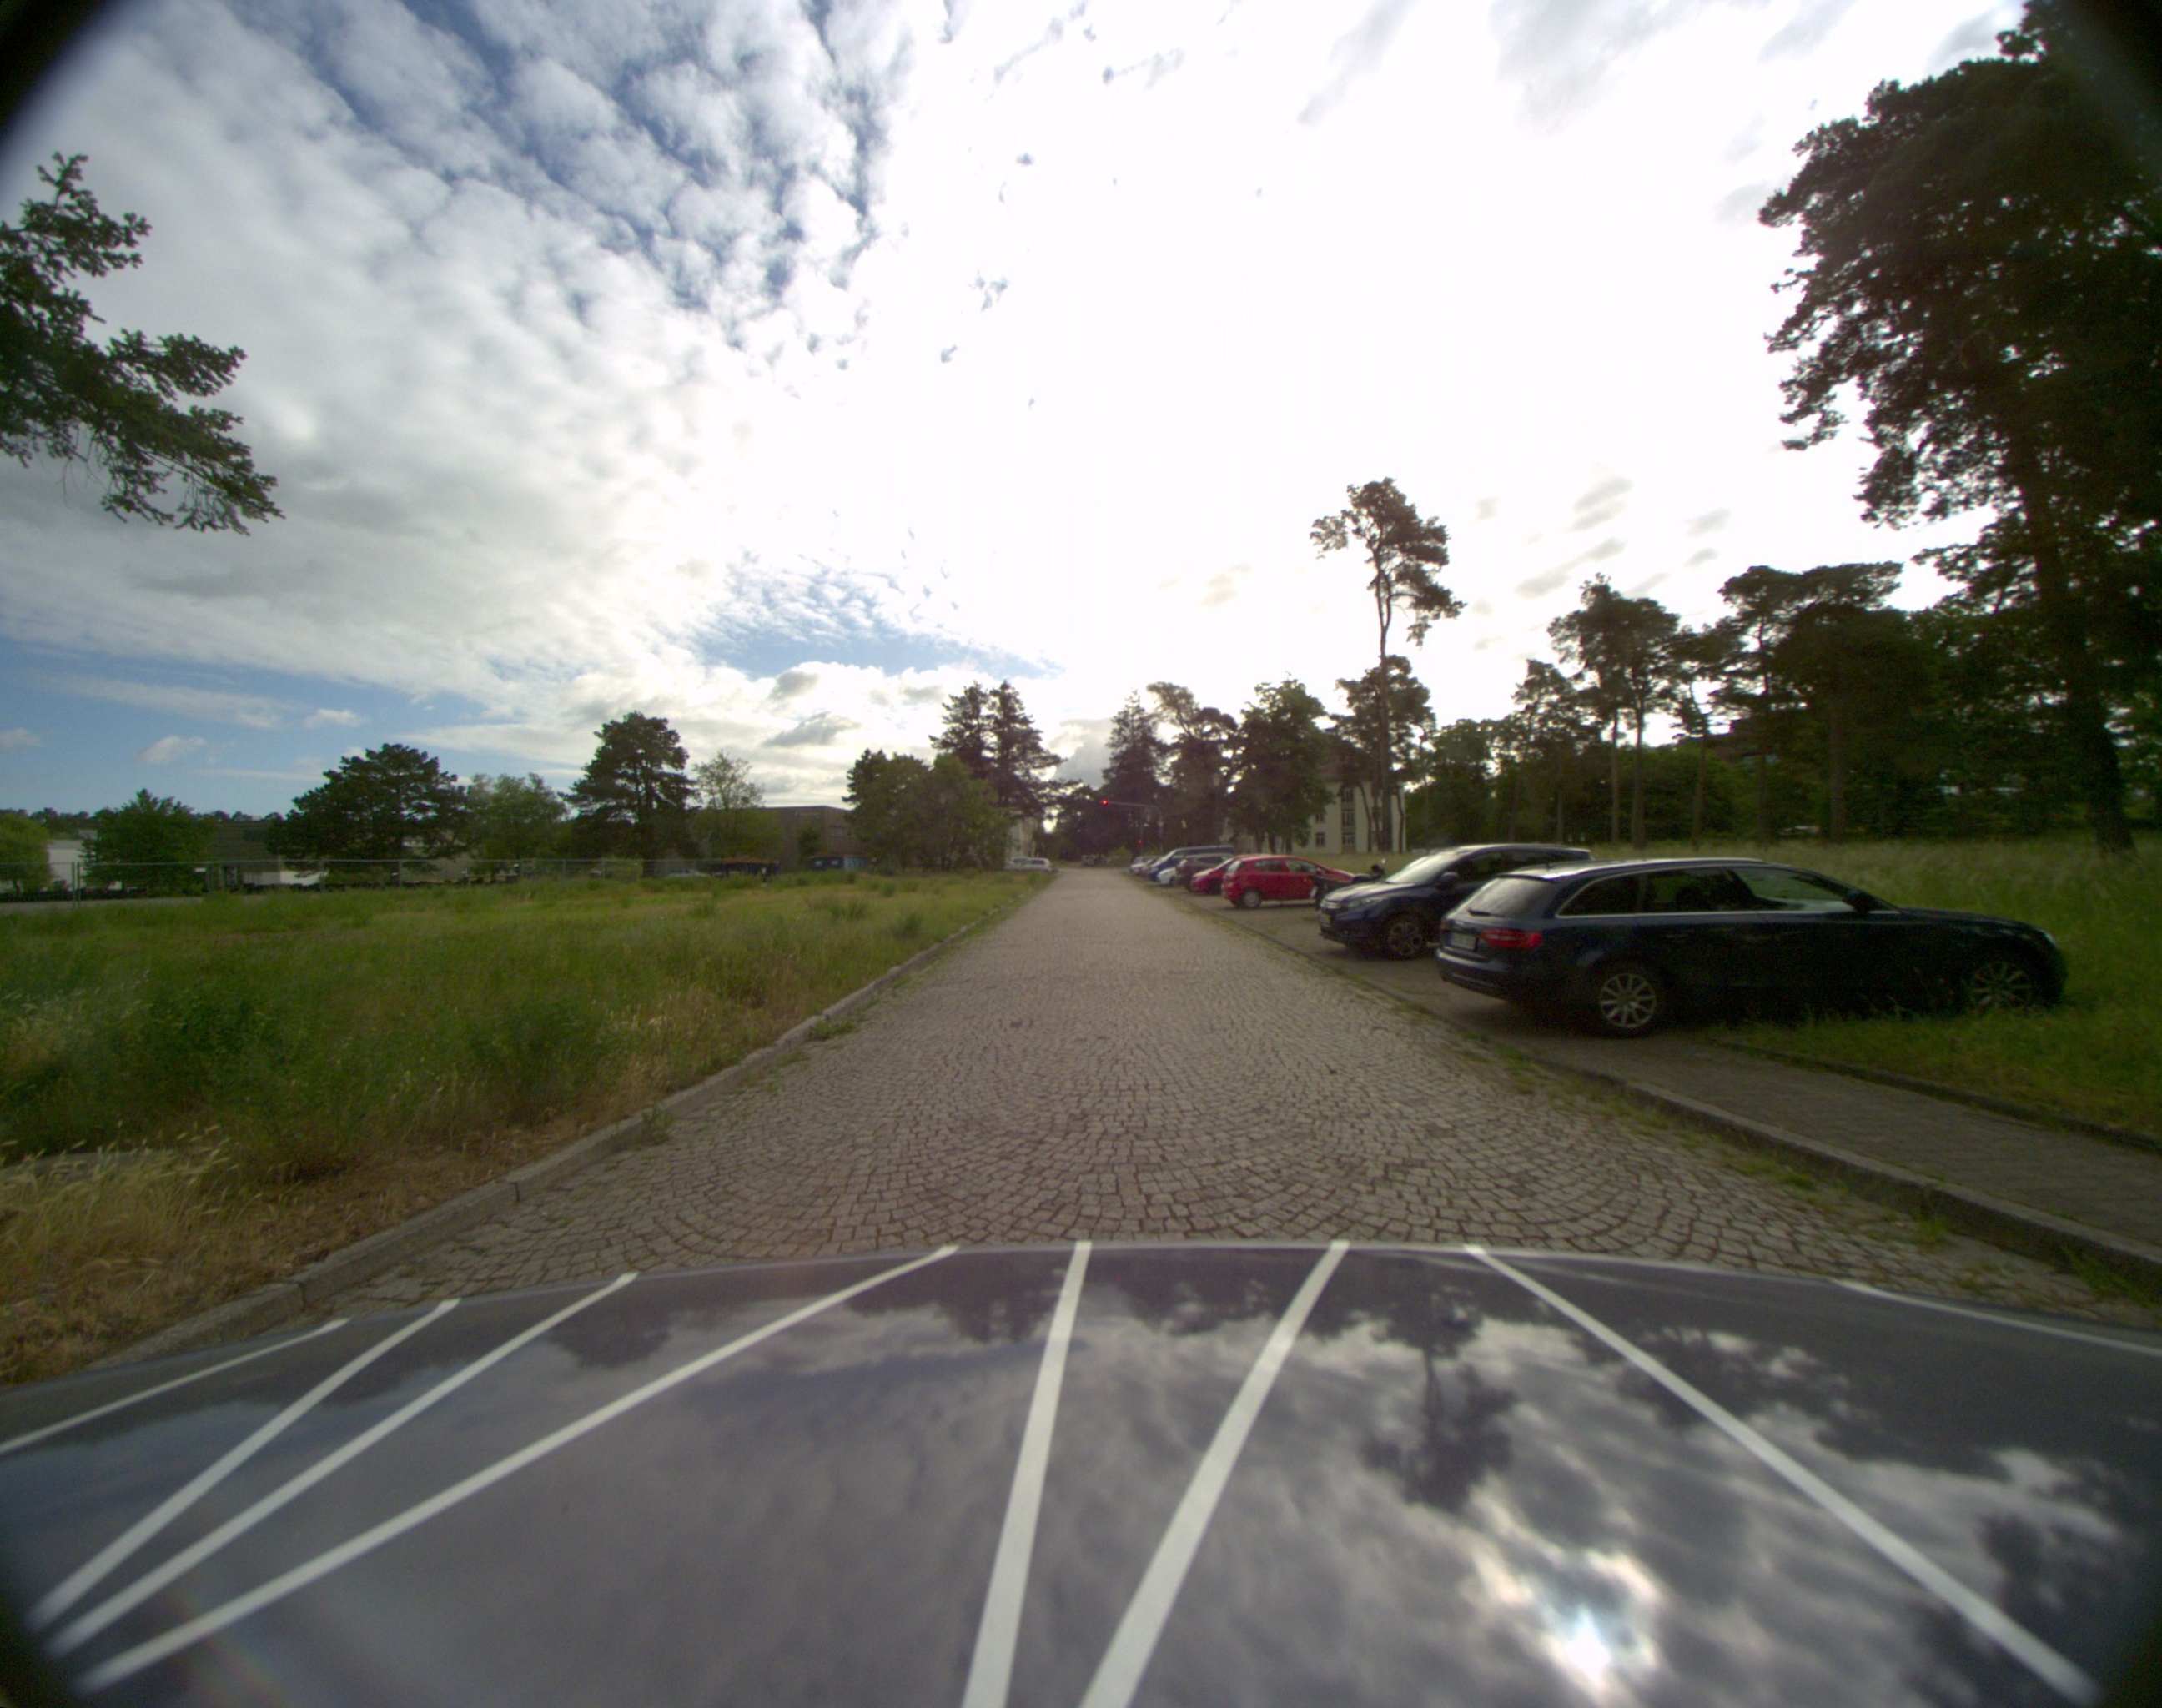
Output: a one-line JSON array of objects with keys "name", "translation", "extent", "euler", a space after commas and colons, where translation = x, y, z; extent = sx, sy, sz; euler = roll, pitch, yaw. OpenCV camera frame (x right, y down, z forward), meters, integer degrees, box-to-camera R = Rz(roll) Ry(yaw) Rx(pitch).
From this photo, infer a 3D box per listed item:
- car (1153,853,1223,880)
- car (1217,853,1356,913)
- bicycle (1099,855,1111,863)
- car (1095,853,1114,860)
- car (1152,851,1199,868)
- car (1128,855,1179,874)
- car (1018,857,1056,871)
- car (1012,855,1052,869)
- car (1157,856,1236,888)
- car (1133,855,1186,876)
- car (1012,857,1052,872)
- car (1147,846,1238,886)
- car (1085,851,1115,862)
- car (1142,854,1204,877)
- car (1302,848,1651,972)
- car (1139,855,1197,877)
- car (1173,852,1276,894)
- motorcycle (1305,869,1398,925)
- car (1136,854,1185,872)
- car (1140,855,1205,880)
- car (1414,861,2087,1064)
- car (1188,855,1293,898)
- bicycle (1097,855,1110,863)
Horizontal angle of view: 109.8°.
[{"name": "car", "translation": [6.499, 0.753, 46.206], "extent": [3.950, 1.426, 1.583], "euler": [-3, 0, -1]}, {"name": "car", "translation": [5.834, 0.799, 21.829], "extent": [3.497, 1.473, 1.602], "euler": [-3, 1, -1]}, {"name": "bicycle", "translation": [3.629, 0.738, 115.079], "extent": [1.862, 1.089, 0.510], "euler": [-2, 1, -7]}, {"name": "car", "translation": [3.989, 0.371, 128.298], "extent": [3.118, 1.046, 1.339], "euler": [-2, 0, -7]}, {"name": "car", "translation": [8.580, 0.484, 69.016], "extent": [3.950, 1.331, 1.583], "euler": [-3, 0, -1]}, {"name": "car", "translation": [5.957, 0.850, 62.761], "extent": [3.950, 1.331, 1.583], "euler": [-3, 0, -1]}, {"name": "car", "translation": [-3.811, 0.843, 66.352], "extent": [3.268, 1.081, 1.396], "euler": [-2, 0, -3]}, {"name": "car", "translation": [-4.438, 0.720, 69.304], "extent": [3.594, 1.203, 1.583], "euler": [-2, 0, -1]}, {"name": "car", "translation": [5.817, 0.894, 38.534], "extent": [3.692, 1.331, 1.583], "euler": [-3, 0, -1]}, {"name": "car", "translation": [6.102, 0.883, 59.371], "extent": [3.950, 1.331, 1.583], "euler": [-3, 0, -1]}, {"name": "car", "translation": [-4.085, 0.880, 63.924], "extent": [3.268, 1.081, 1.449], "euler": [-2, 0, -3]}, {"name": "car", "translation": [5.958, 0.625, 41.052], "extent": [4.542, 1.891, 1.793], "euler": [-3, 1, -1]}, {"name": "car", "translation": [3.218, 0.427, 131.562], "extent": [4.986, 1.612, 1.900], "euler": [-2, 0, -7]}, {"name": "car", "translation": [6.308, 0.772, 52.262], "extent": [3.950, 1.331, 1.583], "euler": [-3, 0, -1]}, {"name": "car", "translation": [5.832, 0.787, 11.572], "extent": [4.363, 1.553, 1.764], "euler": [-3, 0, -1]}, {"name": "car", "translation": [6.263, 0.870, 54.978], "extent": [3.950, 1.331, 1.583], "euler": [-3, 0, -1]}, {"name": "car", "translation": [6.020, 0.775, 32.196], "extent": [3.950, 1.536, 1.764], "euler": [-3, 0, -1]}, {"name": "motorcycle", "translation": [6.115, 0.962, 17.231], "extent": [1.914, 1.186, 0.550], "euler": [-2, 1, -5]}, {"name": "car", "translation": [6.791, 0.754, 64.817], "extent": [3.950, 1.331, 1.583], "euler": [-3, 0, -1]}, {"name": "car", "translation": [5.929, 0.861, 49.276], "extent": [3.950, 1.331, 1.583], "euler": [-3, 0, -1]}, {"name": "car", "translation": [5.581, 0.872, 6.826], "extent": [4.350, 1.397, 1.764], "euler": [-3, 0, 3]}, {"name": "car", "translation": [6.134, 0.832, 29.492], "extent": [3.661, 1.413, 1.577], "euler": [-3, 0, -1]}, {"name": "bicycle", "translation": [3.427, 0.752, 114.252], "extent": [1.862, 1.089, 0.510], "euler": [-2, 1, -7]}]
